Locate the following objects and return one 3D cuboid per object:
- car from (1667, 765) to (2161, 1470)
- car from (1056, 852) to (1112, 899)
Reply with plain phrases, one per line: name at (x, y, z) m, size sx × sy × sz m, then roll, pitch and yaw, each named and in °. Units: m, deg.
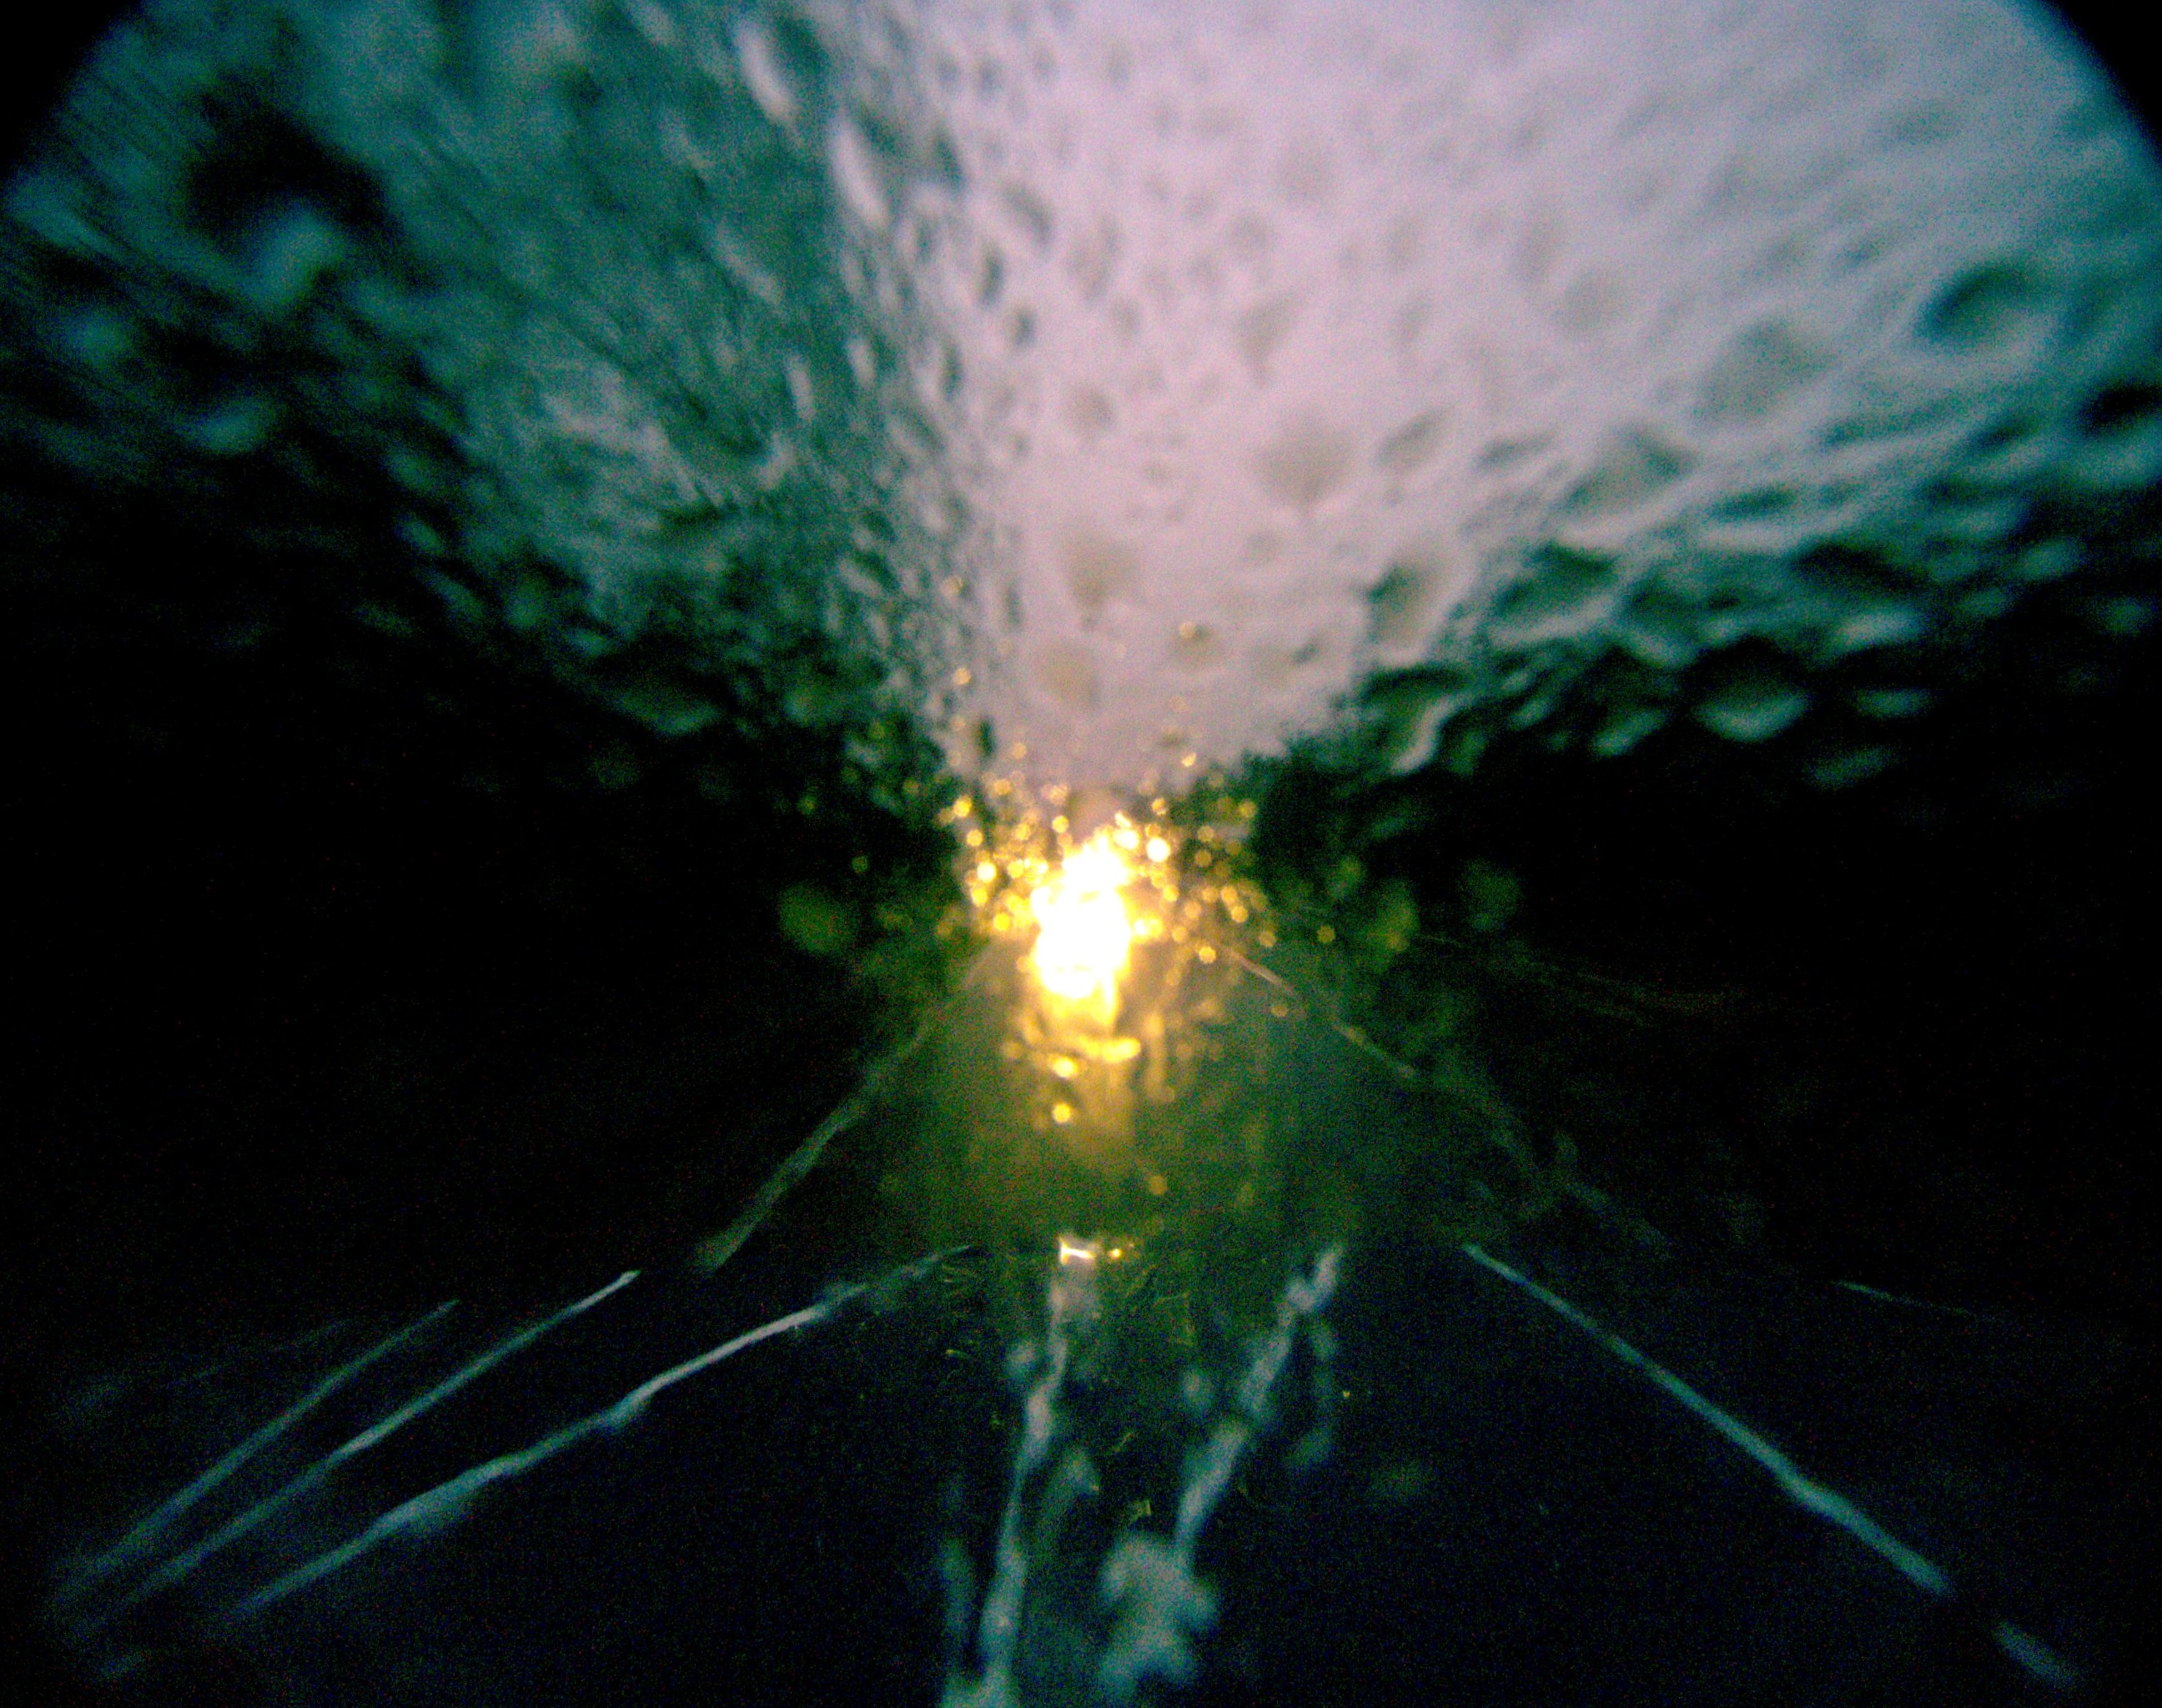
car at (3.448, 0.621, 1.487) m, size 1.678 × 1.727 × 3.837 m, roll -2°, pitch 1°, yaw 1°
car at (0.048, 0.810, 30.913) m, size 1.999 × 1.672 × 3.998 m, roll -2°, pitch 1°, yaw -3°
